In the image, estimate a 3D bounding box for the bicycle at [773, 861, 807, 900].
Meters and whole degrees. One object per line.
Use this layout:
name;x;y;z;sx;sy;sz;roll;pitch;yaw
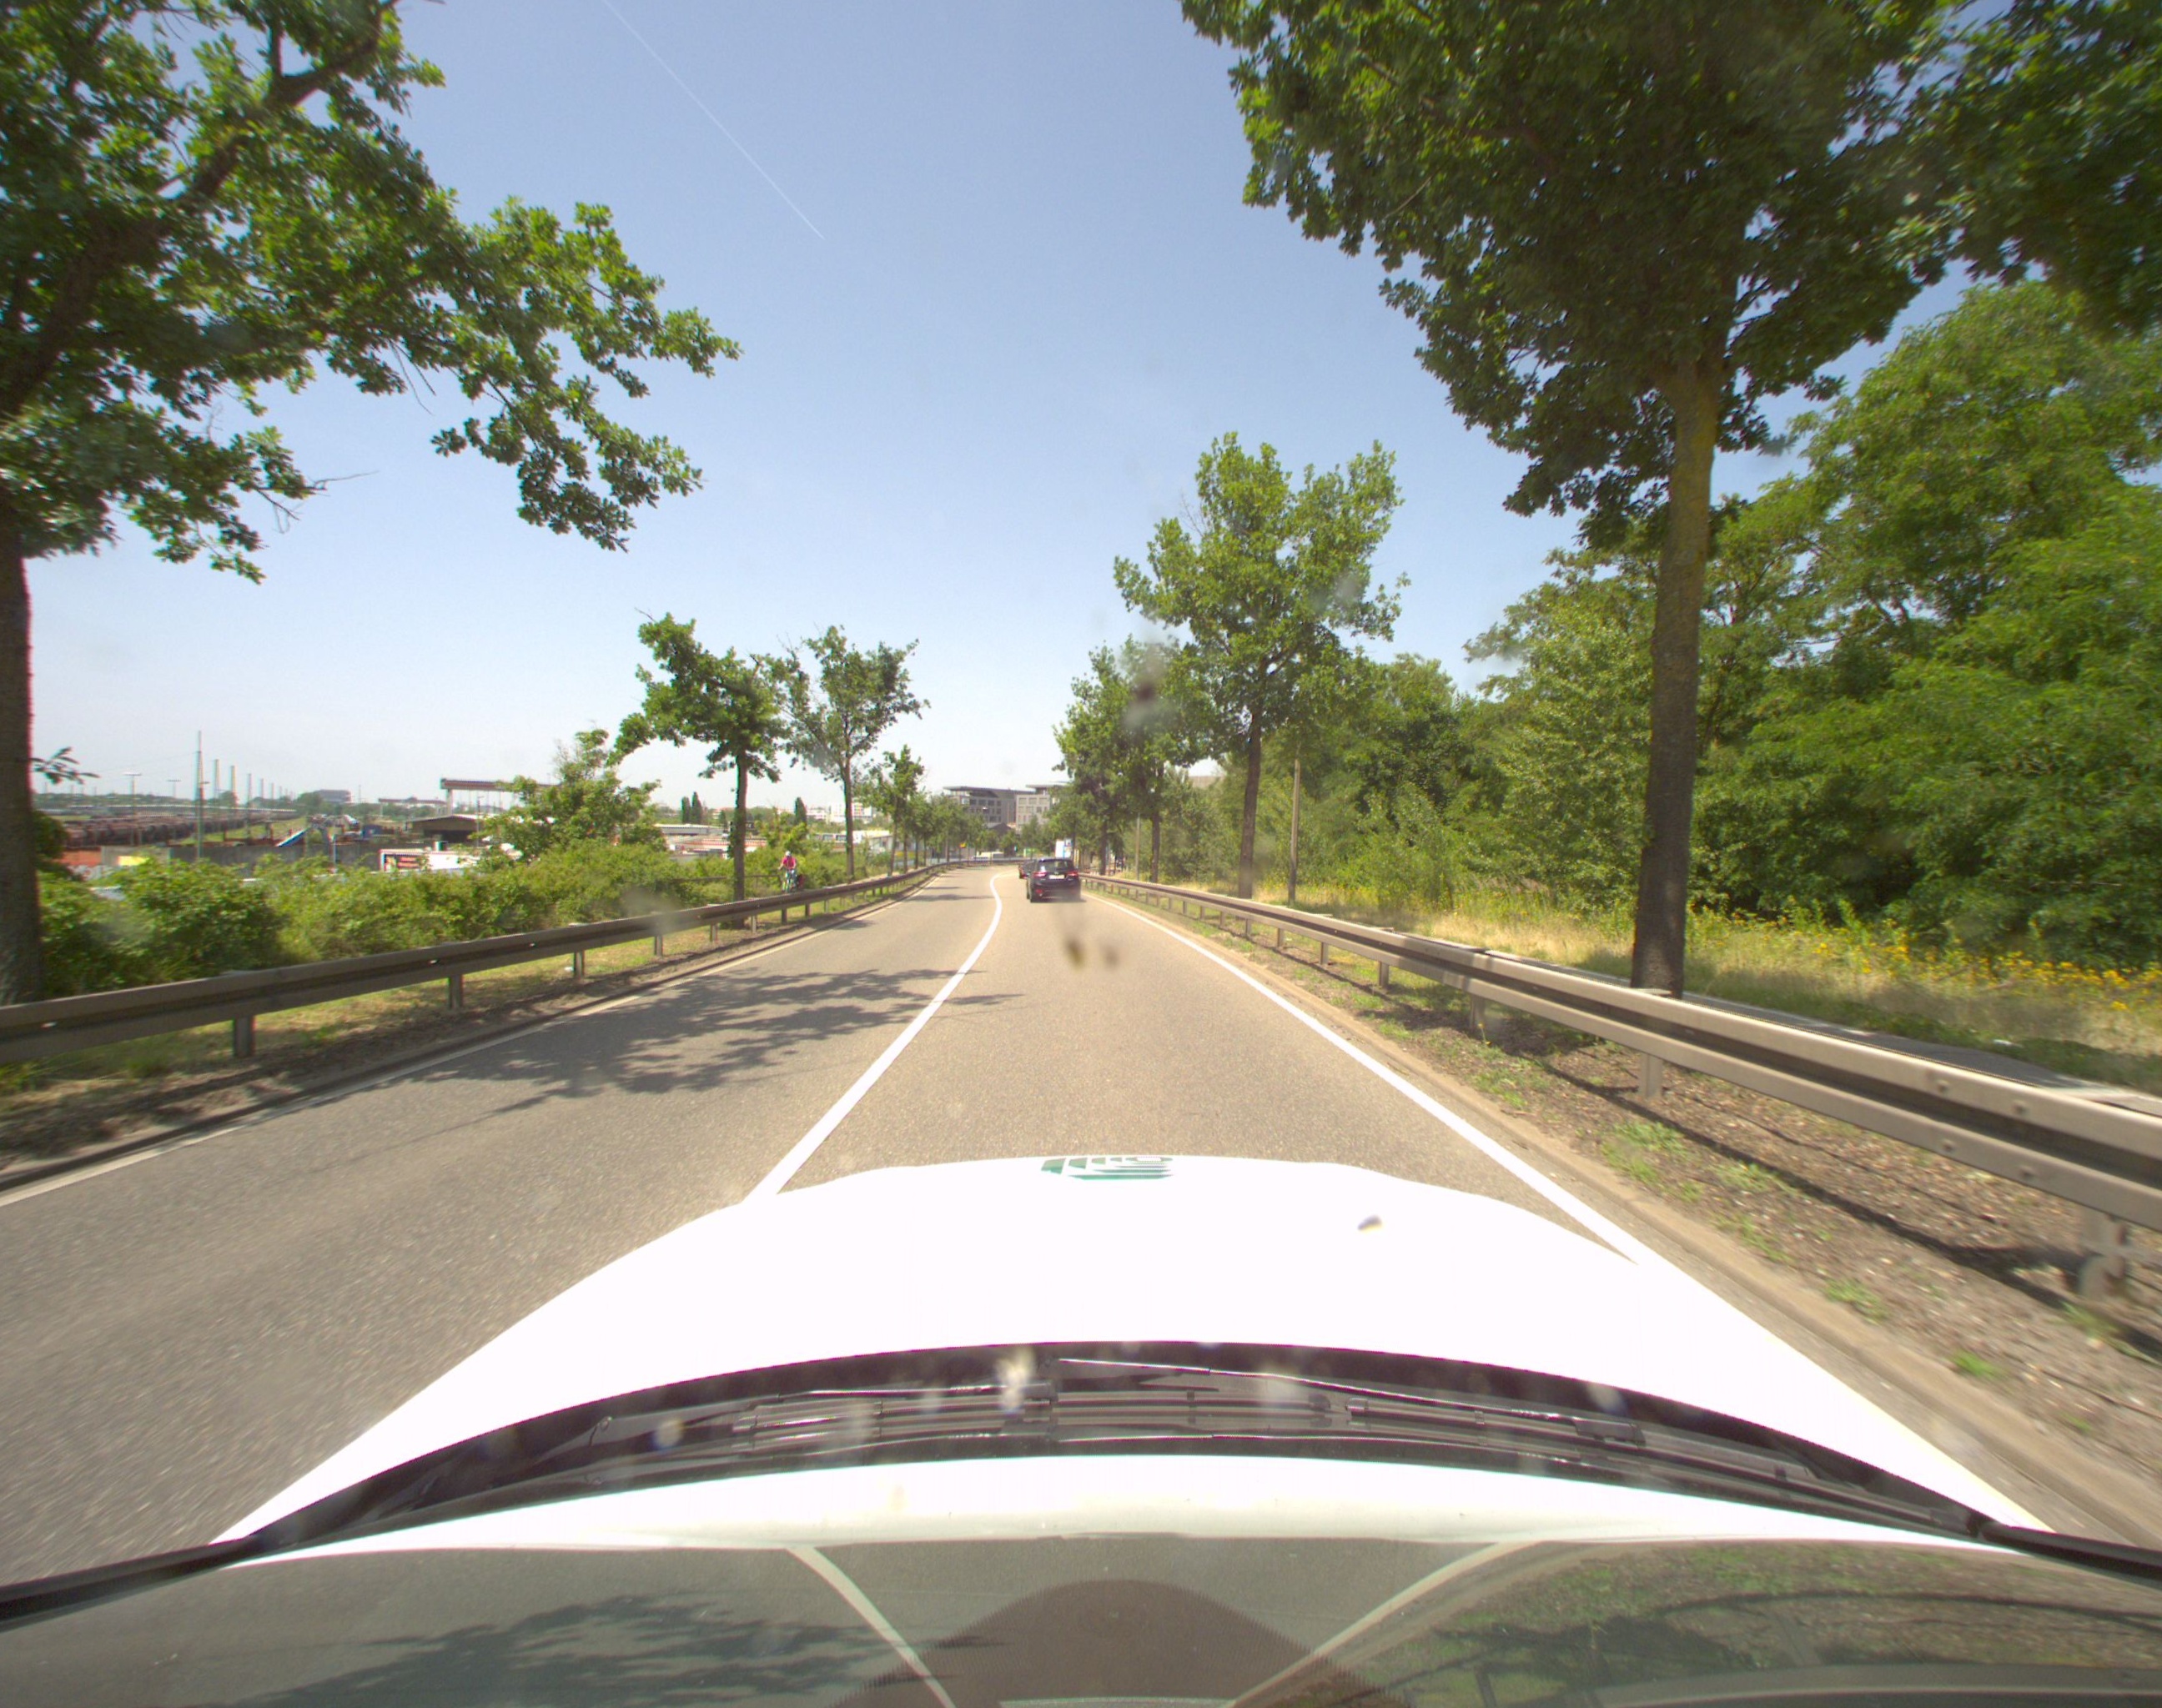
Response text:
bicycle;-10.082;0.900;28.286;0.734;1.281;2.039;0;-1;-9

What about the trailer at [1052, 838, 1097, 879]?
trailer;-0.556;0.376;96.227;3.061;4.368;14.809;1;1;8

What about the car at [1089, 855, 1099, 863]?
car;3.377;1.295;210.993;1.794;1.759;4.268;2;-1;14

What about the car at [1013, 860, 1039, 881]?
car;-4.451;1.289;66.400;1.952;1.633;4.276;1;-1;-2

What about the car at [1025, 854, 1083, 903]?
car;-1.059;0.841;29.668;1.765;1.599;4.068;-1;0;-6

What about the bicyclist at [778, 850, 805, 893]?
bicyclist;-10.061;0.603;28.332;0.741;1.489;0.754;0;-1;-10
